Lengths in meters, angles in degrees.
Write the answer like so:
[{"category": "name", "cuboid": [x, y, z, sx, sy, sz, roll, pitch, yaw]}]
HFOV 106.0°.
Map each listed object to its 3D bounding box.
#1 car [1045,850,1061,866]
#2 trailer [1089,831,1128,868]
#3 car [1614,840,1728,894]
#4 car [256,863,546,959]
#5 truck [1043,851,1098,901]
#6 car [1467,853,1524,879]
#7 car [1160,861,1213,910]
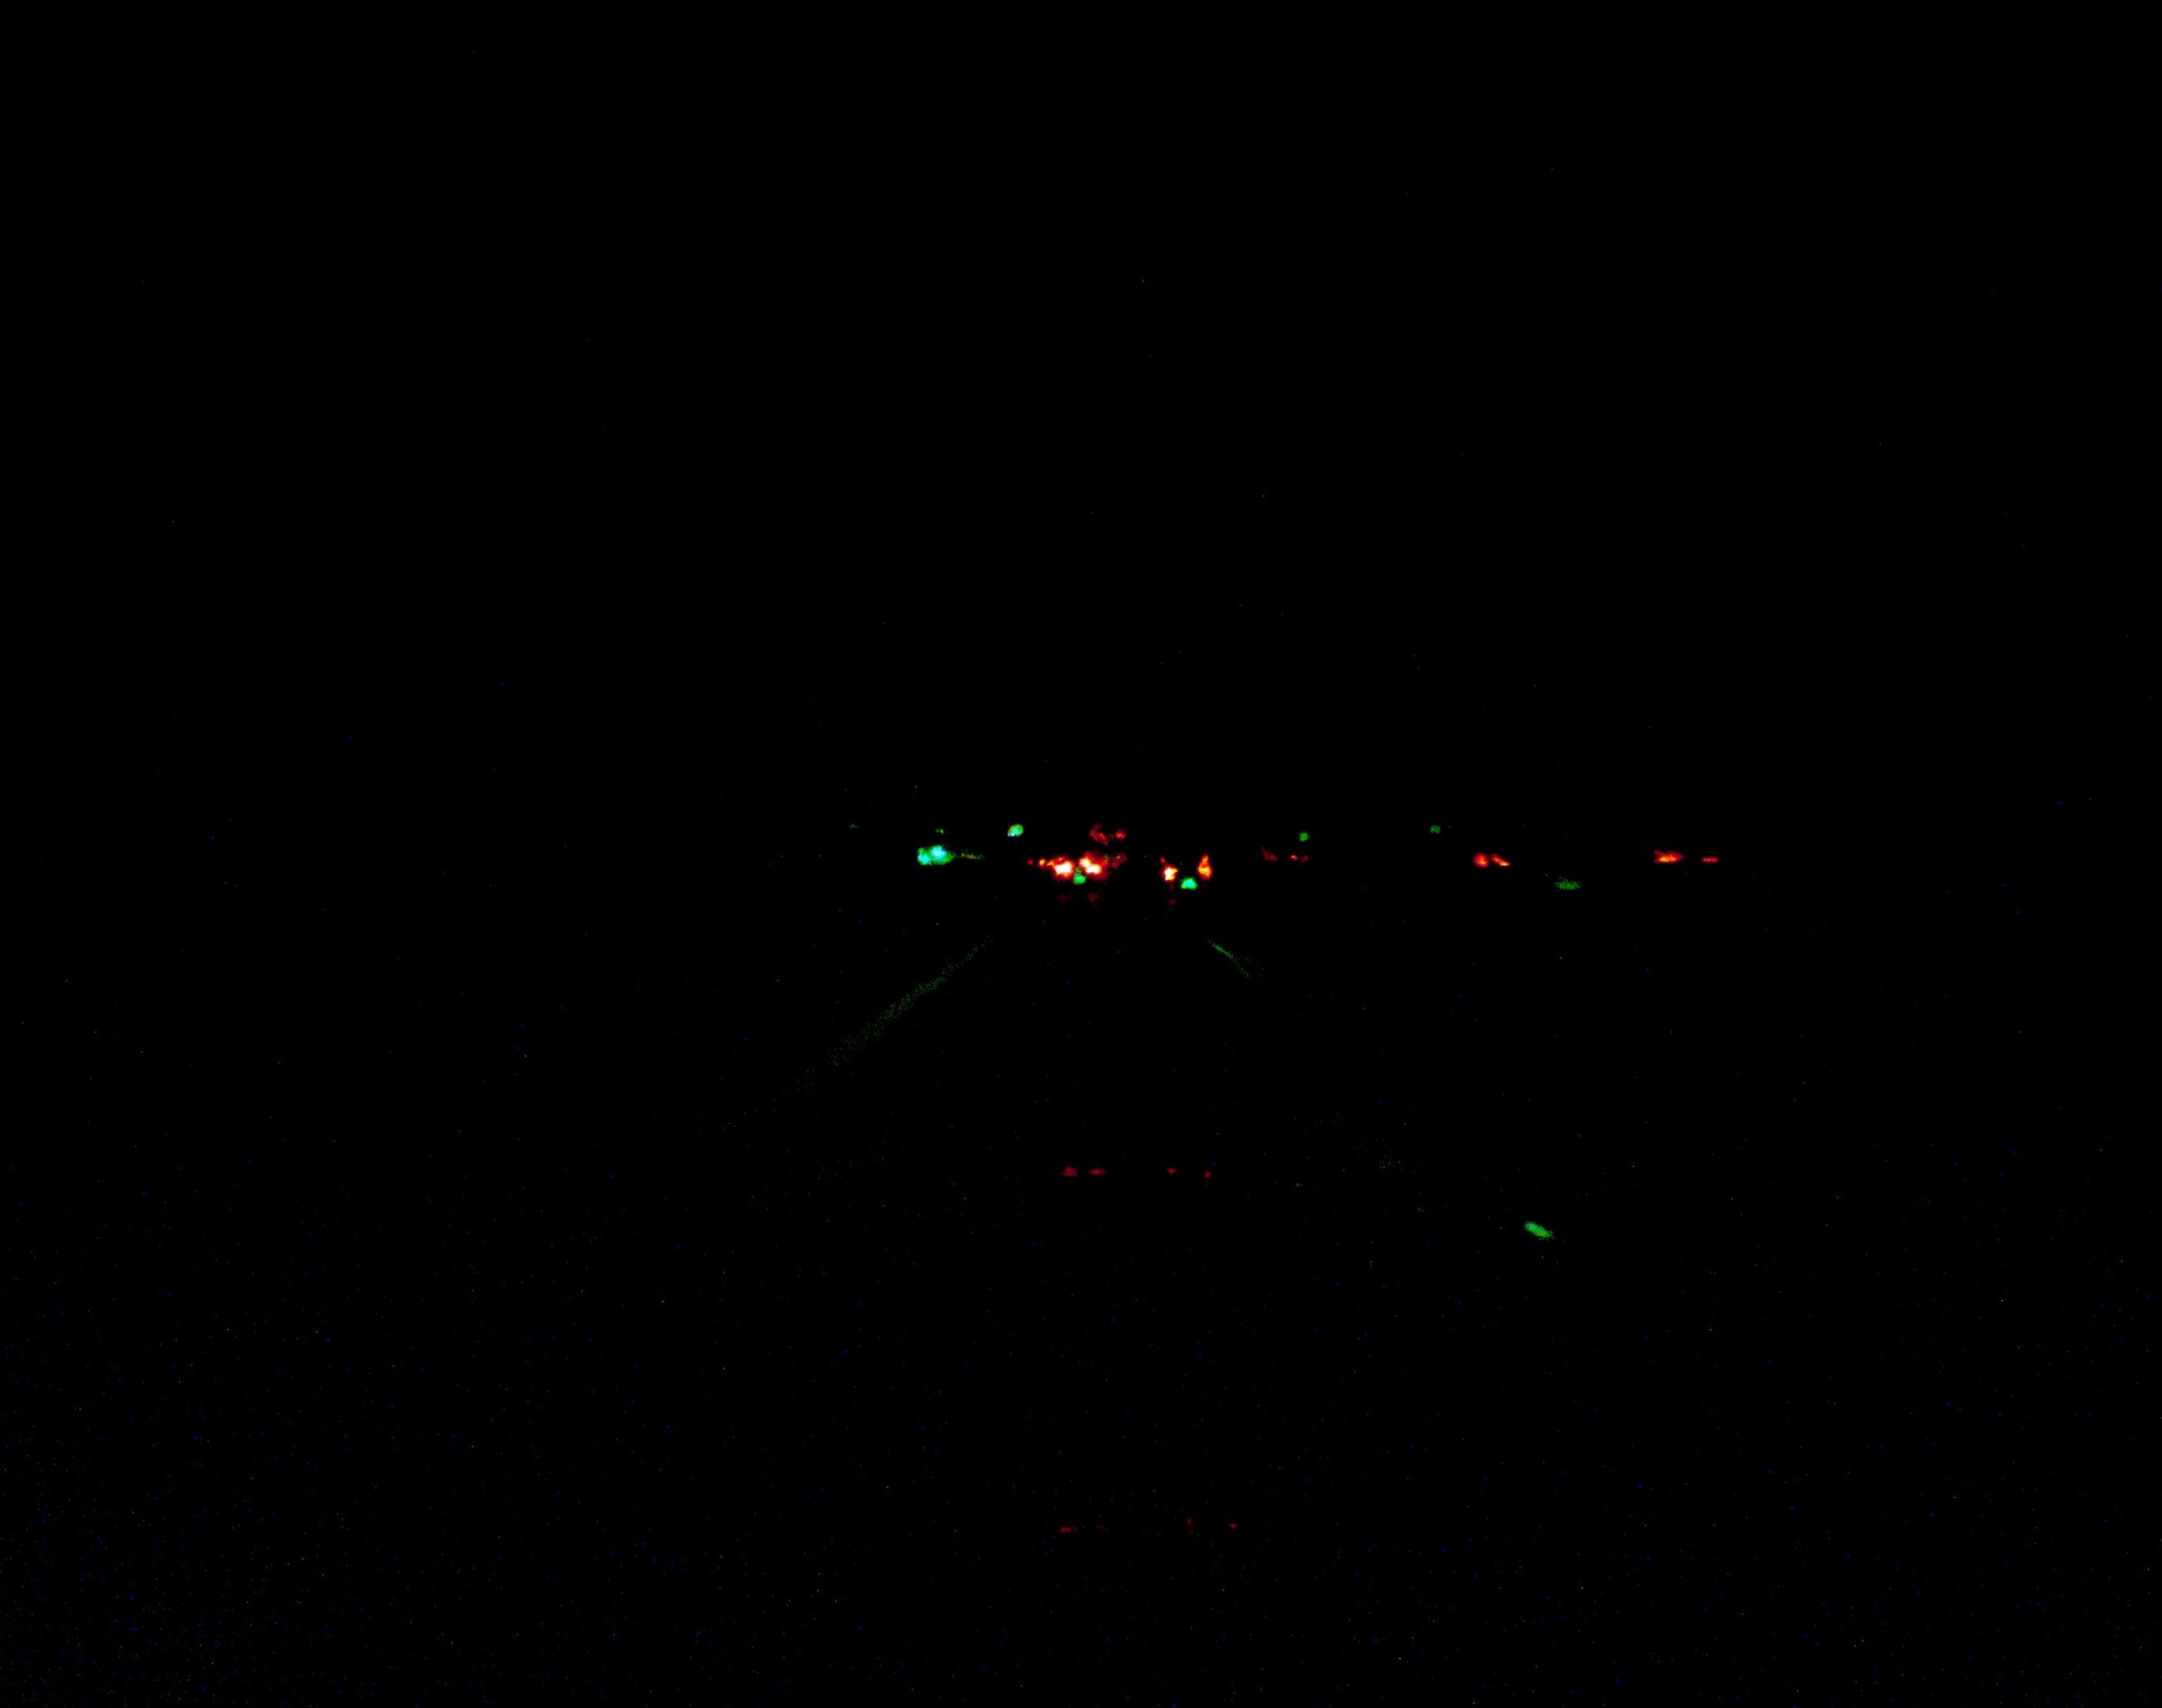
[{"category": "car", "cuboid": [-3.709, 0.543, 108.044, 1.990, 2.013, 3.994, 0, 0, -4]}, {"category": "trailer", "cuboid": [3.455, -0.783, 107.851, 2.737, 4.246, 13.341, -5, 3, -7]}, {"category": "car", "cuboid": [23.306, 0.441, 32.381, 2.218, 2.013, 4.013, 0, 1, 11]}, {"category": "car", "cuboid": [-12.625, 0.965, 15.543, 2.117, 1.526, 4.000, 0, 0, 1]}, {"category": "truck", "cuboid": [-0.398, 0.959, 38.592, 2.136, 2.077, 6.609, 2, 1, 3]}, {"category": "car", "cuboid": [27.172, 0.747, 53.477, 1.984, 1.600, 4.006, 2, 0, 6]}, {"category": "car", "cuboid": [3.943, 1.129, 30.957, 1.792, 1.617, 4.263, -2, 0, 5]}]
